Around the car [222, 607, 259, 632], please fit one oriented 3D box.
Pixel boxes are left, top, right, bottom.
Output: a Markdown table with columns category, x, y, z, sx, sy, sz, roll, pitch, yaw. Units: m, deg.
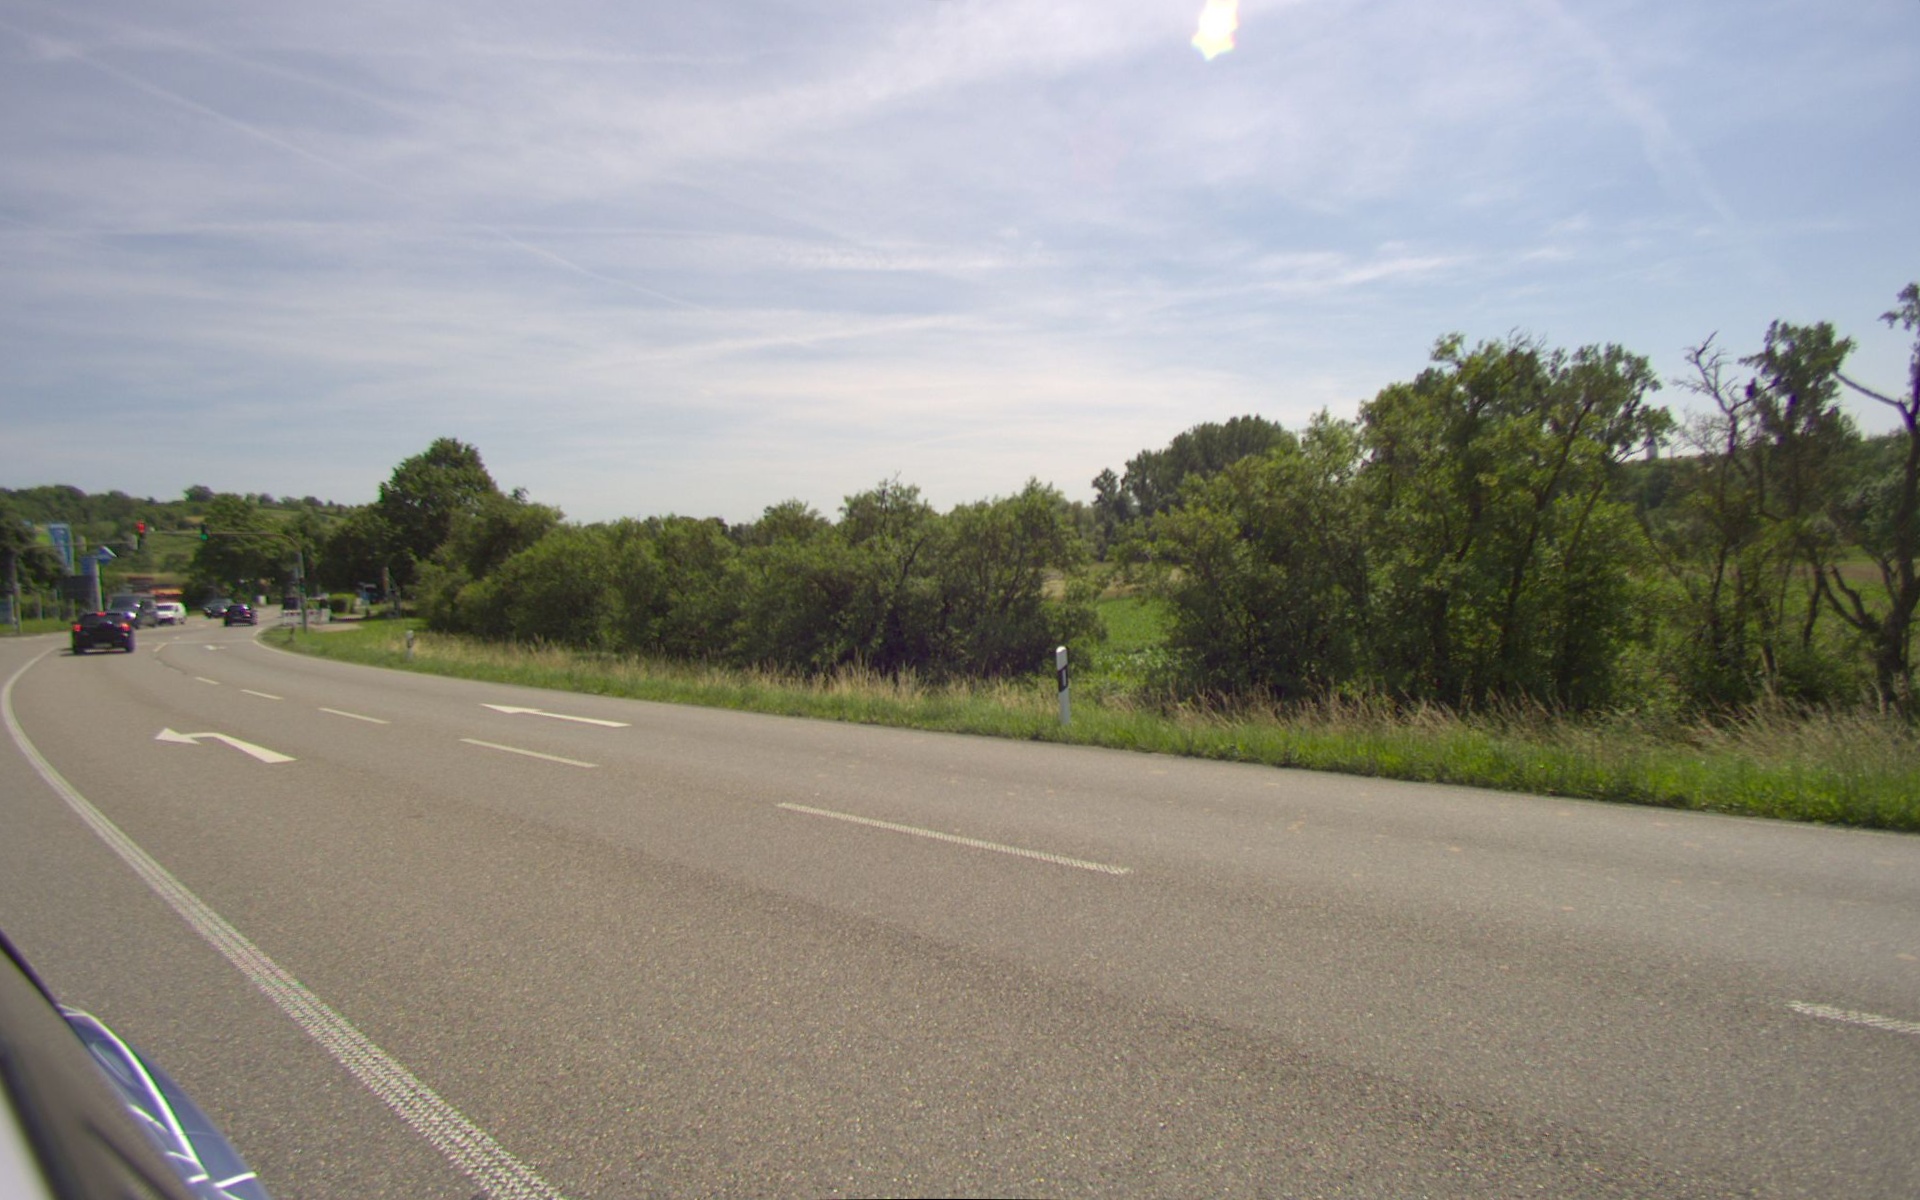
| category | x | y | z | sx | sy | sz | roll | pitch | yaw |
| --- | --- | --- | --- | --- | --- | --- | --- | --- | --- |
| car | -54.234 | 1.446 | 76.313 | 1.966 | 1.708 | 4.012 | -1 | 1 | -32 |

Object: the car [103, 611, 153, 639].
| category | x | y | z | sx | sy | sz | roll | pitch | yaw |
| --- | --- | --- | --- | --- | --- | --- | --- | --- | --- |
| car | -59.983 | 1.751 | 73.056 | 1.779 | 1.745 | 4.014 | -2 | 3 | -25 |

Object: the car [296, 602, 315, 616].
| category | x | y | z | sx | sy | sz | roll | pitch | yaw |
| --- | --- | --- | --- | --- | --- | --- | --- | --- | --- |
| car | -74.095 | 0.989 | 114.597 | 1.746 | 1.507 | 4.012 | -1 | 0 | -31 |

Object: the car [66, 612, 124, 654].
| category | x | y | z | sx | sy | sz | roll | pitch | yaw |
| --- | --- | --- | --- | --- | --- | --- | --- | --- | --- |
| car | -37.829 | 1.408 | 44.324 | 1.748 | 1.671 | 4.008 | -2 | 1 | -38 |

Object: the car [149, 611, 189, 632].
| category | x | y | z | sx | sy | sz | roll | pitch | yaw |
| --- | --- | --- | --- | --- | --- | --- | --- | --- | --- |
| car | -64.684 | 1.723 | 82.798 | 1.754 | 1.504 | 4.171 | -2 | 2 | -27 |

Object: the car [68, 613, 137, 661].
| category | x | y | z | sx | sy | sz | roll | pitch | yaw |
| --- | --- | --- | --- | --- | --- | --- | --- | --- | --- |
| car | -33.601 | 1.390 | 39.737 | 1.748 | 1.671 | 4.009 | -2 | 1 | -36 |

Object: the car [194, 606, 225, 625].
| category | x | y | z | sx | sy | sz | roll | pitch | yaw |
| --- | --- | --- | --- | --- | --- | --- | --- | --- | --- |
| car | -74.080 | 1.542 | 99.921 | 1.779 | 1.745 | 4.013 | -2 | 1 | -27 |

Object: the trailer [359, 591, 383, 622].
| category | x | y | z | sx | sy | sz | roll | pitch | yaw |
| --- | --- | --- | --- | --- | --- | --- | --- | --- | --- |
| trailer | -80.907 | 0.917 | 138.914 | 2.531 | 4.060 | 13.633 | -1 | 0 | -32 |

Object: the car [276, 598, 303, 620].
| category | x | y | z | sx | sy | sz | roll | pitch | yaw |
| --- | --- | --- | --- | --- | --- | --- | --- | --- | --- |
| car | -66.330 | 0.874 | 100.186 | 1.967 | 2.021 | 5.180 | -2 | 1 | -31 |
